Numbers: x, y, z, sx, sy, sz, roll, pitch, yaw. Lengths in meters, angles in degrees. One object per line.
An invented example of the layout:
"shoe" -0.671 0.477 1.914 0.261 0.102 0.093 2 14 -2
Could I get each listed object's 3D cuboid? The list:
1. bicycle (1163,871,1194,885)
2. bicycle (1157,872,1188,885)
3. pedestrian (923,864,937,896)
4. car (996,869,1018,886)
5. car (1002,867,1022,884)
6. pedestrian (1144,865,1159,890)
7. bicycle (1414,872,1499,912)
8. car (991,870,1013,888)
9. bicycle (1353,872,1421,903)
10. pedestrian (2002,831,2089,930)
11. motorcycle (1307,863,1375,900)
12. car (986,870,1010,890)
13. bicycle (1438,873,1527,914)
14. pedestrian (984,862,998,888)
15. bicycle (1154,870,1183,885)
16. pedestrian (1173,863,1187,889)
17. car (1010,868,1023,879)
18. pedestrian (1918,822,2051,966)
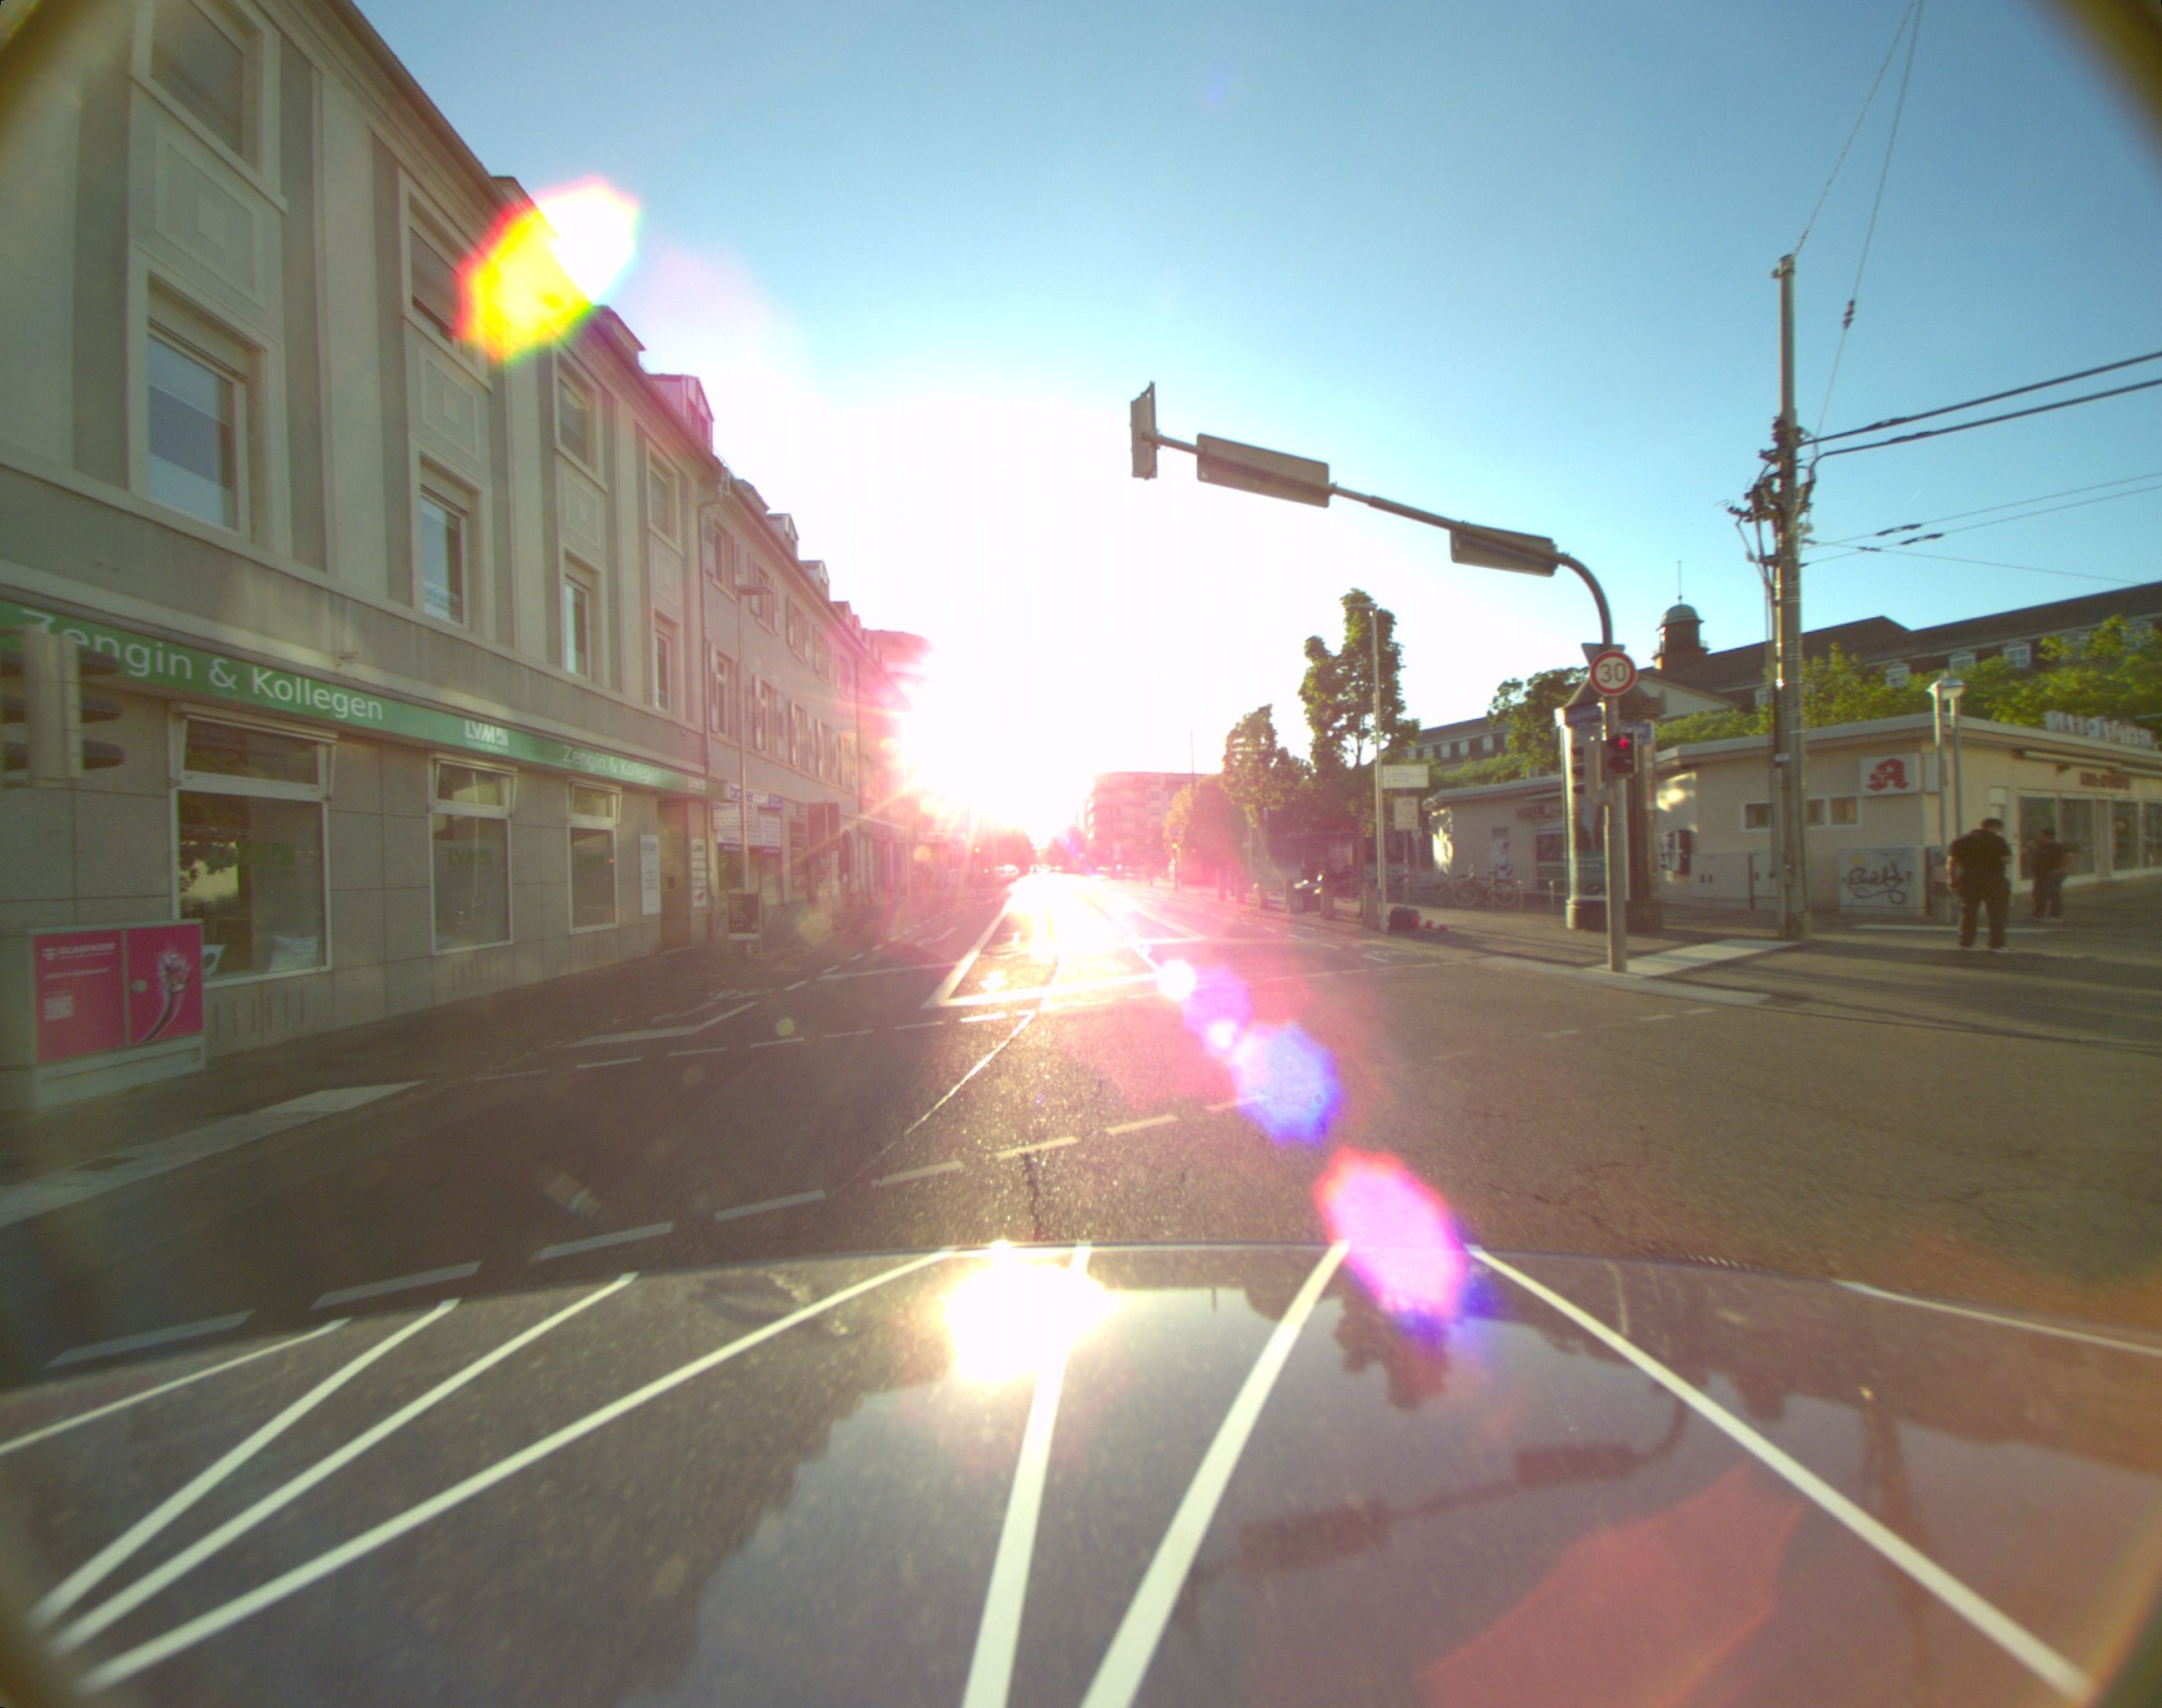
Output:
"bicycle" 7.816 1.938 61.250 2.399 0.953 0.672 -3 0 4
"bicycle" 7.495 1.982 62.296 2.399 0.953 0.672 -3 0 4
"pedestrian" -8.484 1.464 42.752 0.673 1.774 0.721 0 1 -19
"car" -7.731 2.486 80.060 1.999 1.538 4.508 -3 0 -2
"car" -7.766 2.409 85.910 1.999 1.637 4.508 -3 0 -2
"pedestrian" 4.950 1.636 53.478 0.905 1.666 0.780 -3 0 9
"bicycle" 11.258 1.131 22.790 2.222 1.081 0.779 -2 0 -9
"car" -7.733 2.425 74.600 1.999 1.538 4.508 -3 0 -5
"bicycle" 11.098 1.204 27.584 2.181 1.081 0.779 -1 0 -3
"pedestrian" 17.136 0.461 13.510 0.781 1.666 0.904 -3 0 -38
"motorcycle" 10.523 1.124 30.800 2.450 1.357 0.780 -3 -1 2
"car" -7.437 2.283 68.327 1.999 1.538 4.508 -3 0 -5
"bicycle" 11.431 1.108 21.677 2.197 1.081 0.779 -2 0 -9
"pedestrian" -6.175 1.443 52.288 0.842 1.736 0.700 -3 0 -4
"bicycle" 7.368 1.984 63.947 2.399 1.065 0.672 -3 0 4
"pedestrian" 6.557 1.434 50.154 0.778 1.666 0.907 -3 0 4
"car" -10.152 3.033 119.617 1.999 1.538 4.508 -3 0 -5
"pedestrian" 11.911 0.501 10.030 0.908 1.774 0.879 -3 0 -26
